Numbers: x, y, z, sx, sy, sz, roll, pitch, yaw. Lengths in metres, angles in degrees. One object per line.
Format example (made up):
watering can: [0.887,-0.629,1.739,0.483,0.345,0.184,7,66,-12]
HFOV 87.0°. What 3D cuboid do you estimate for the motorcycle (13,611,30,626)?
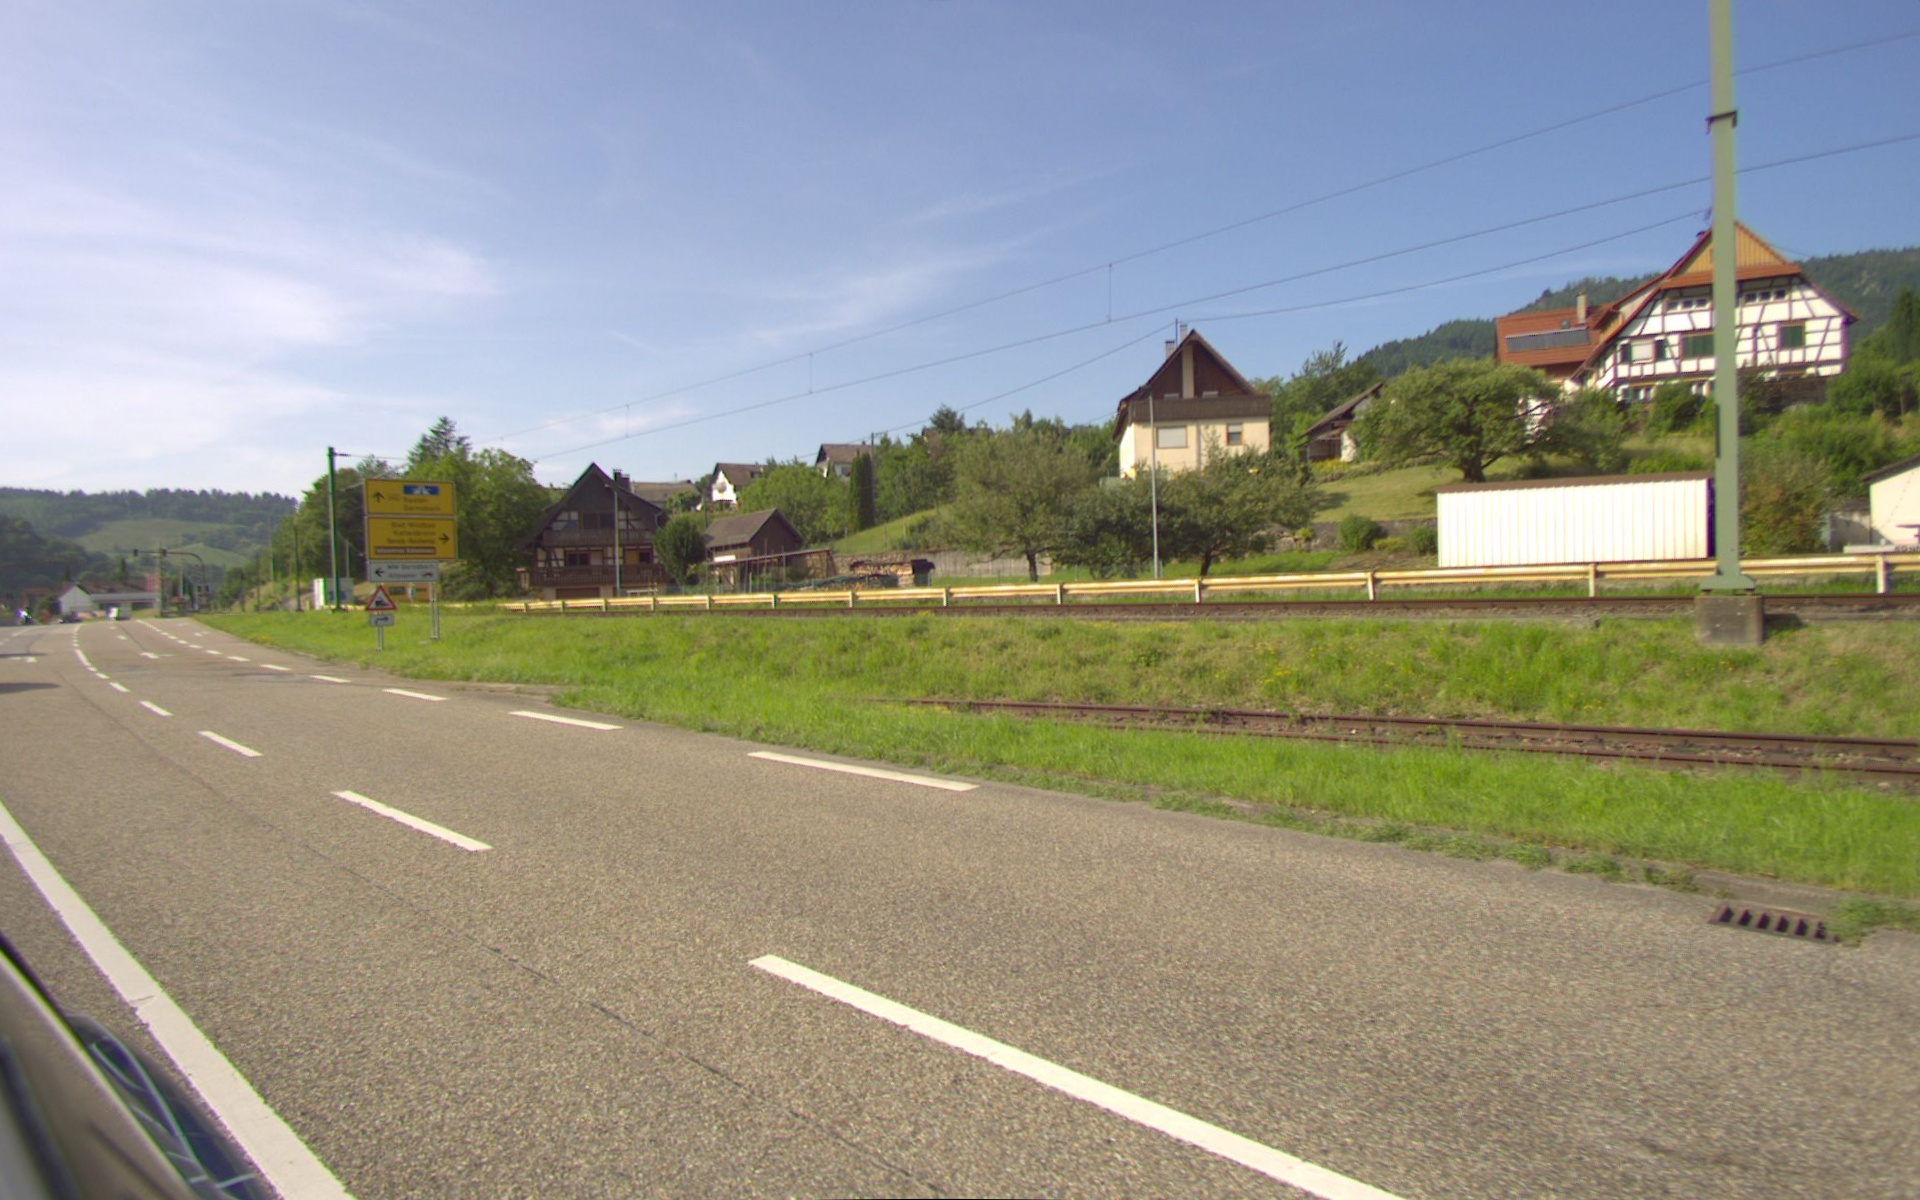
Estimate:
motorcycle: [-82.359,1.631,88.845,0.990,1.277,2.597,-5,3,-42]

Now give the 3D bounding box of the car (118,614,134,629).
car: [-150.598,3.886,182.698,2.093,2.454,5.237,-4,1,-39]

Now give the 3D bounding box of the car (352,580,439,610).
car: [-53.388,-0.444,95.750,6.967,2.475,2.957,-3,1,-31]
